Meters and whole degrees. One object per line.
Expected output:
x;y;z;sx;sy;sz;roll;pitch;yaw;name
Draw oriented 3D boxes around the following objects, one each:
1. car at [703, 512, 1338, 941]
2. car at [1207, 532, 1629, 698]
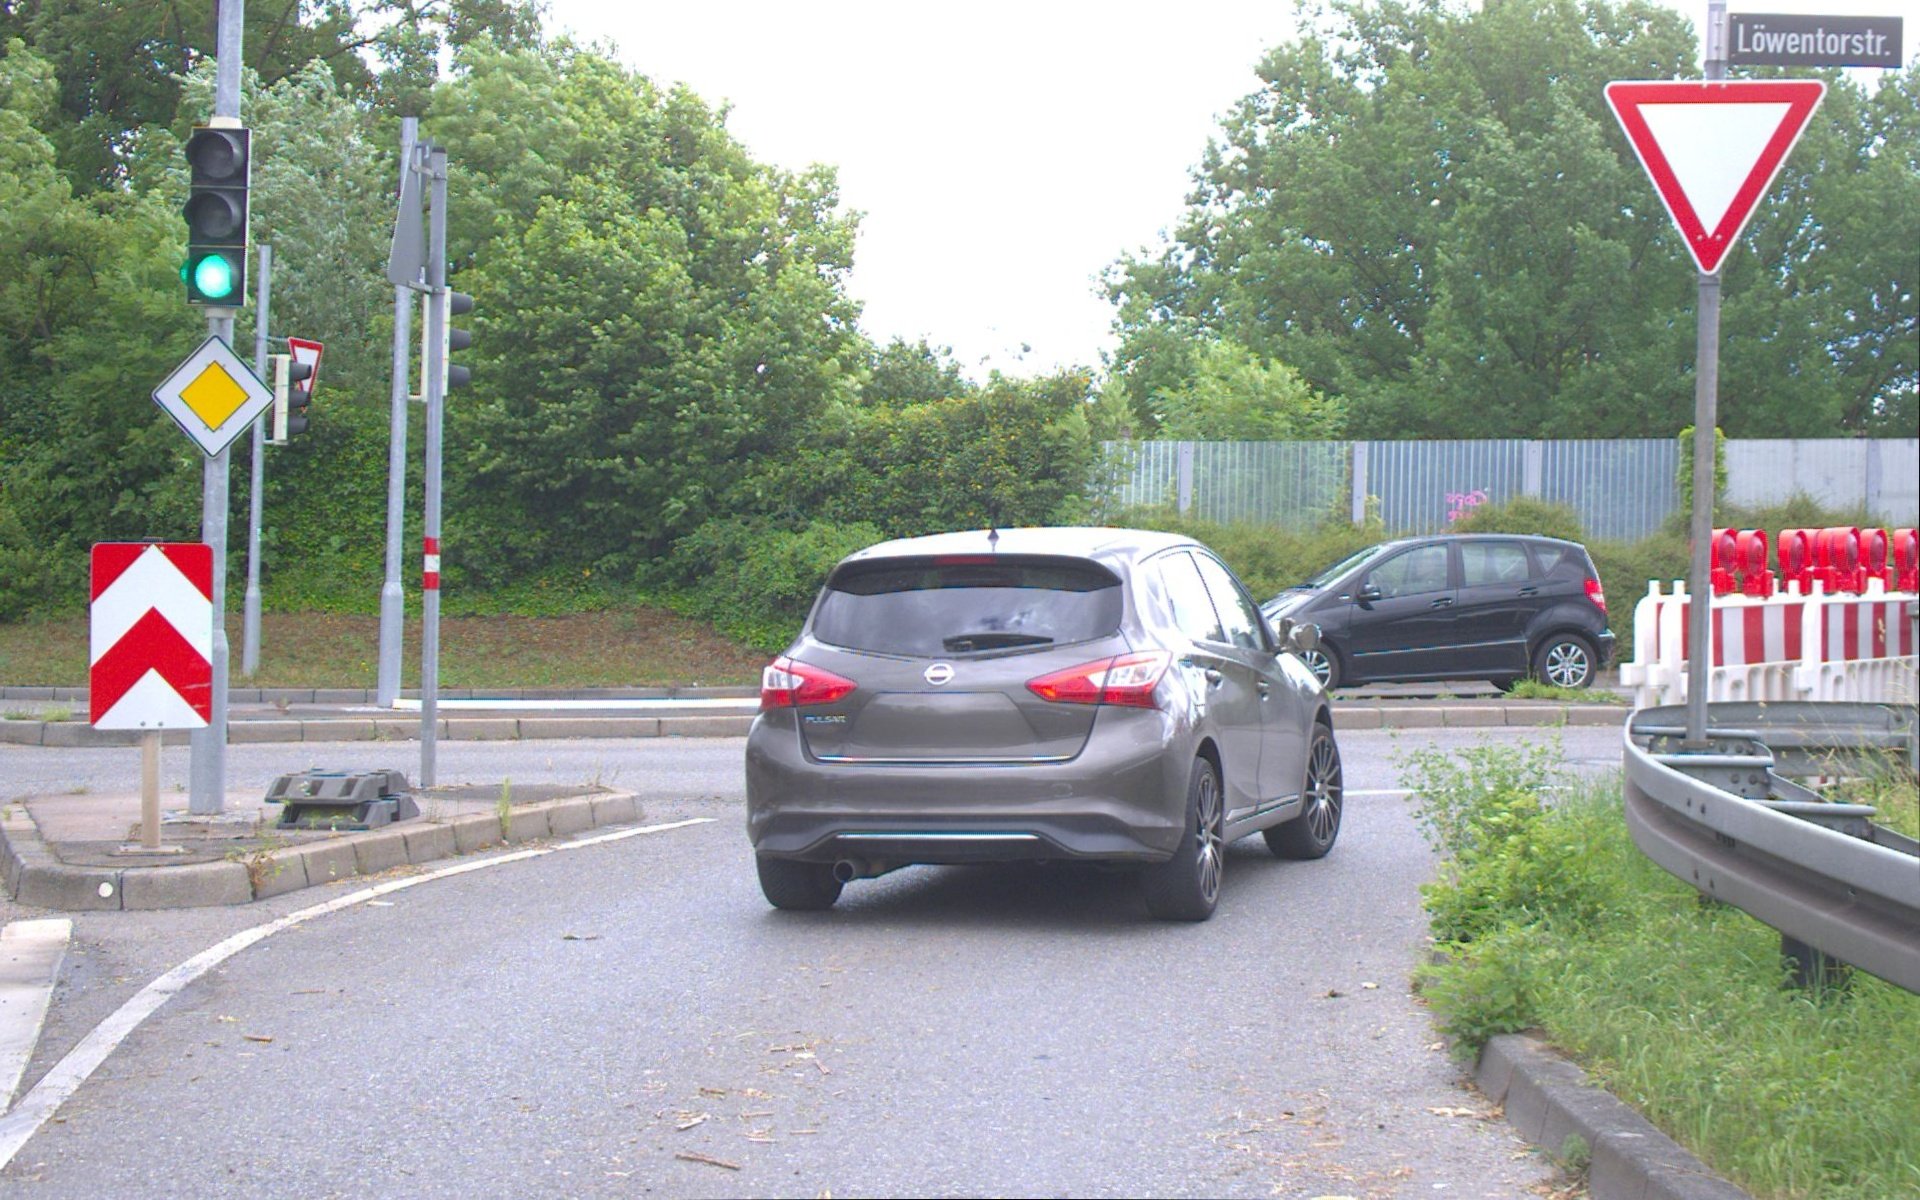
0.414;0.424;14.532;1.799;1.547;3.997;0;1;15;car
4.456;0.165;33.664;3.775;1.547;1.643;1;-1;-9;car
